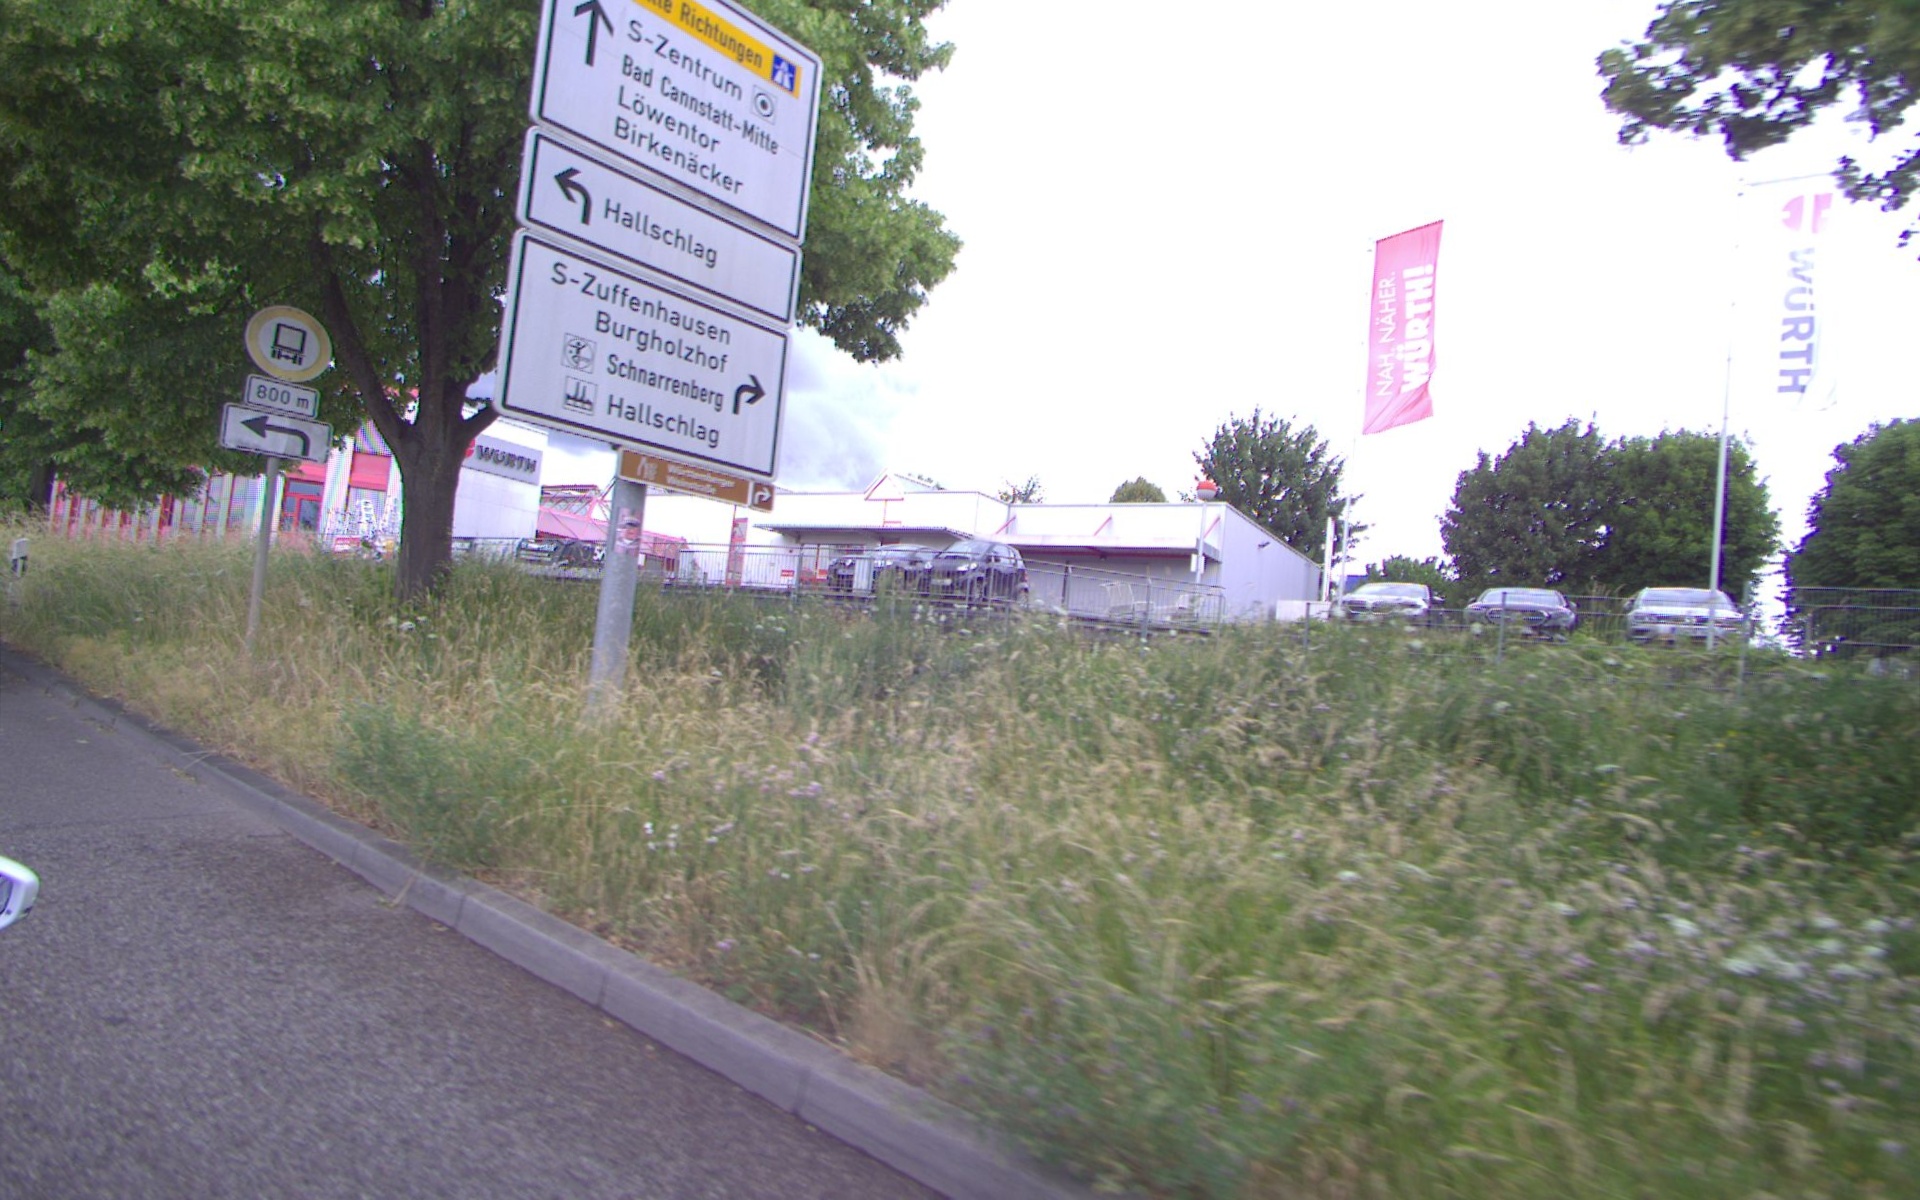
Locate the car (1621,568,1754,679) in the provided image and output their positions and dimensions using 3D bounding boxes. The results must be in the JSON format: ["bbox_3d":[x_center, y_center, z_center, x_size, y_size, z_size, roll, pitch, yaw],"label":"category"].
[{"bbox_3d":[13.689,0.501,18.995,1.728,1.499,3.931,7,-3,36],"label":"car"}]

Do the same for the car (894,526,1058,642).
[{"bbox_3d":[0.451,-0.296,22.612,1.618,1.980,3.760,7,-3,36],"label":"car"}]

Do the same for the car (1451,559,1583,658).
[{"bbox_3d":[11.149,0.218,20.007,1.728,1.383,3.930,6,-3,36],"label":"car"}]

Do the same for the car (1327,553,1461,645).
[{"bbox_3d":[9.317,0.033,21.424,1.728,1.379,3.759,6,-3,36],"label":"car"}]
